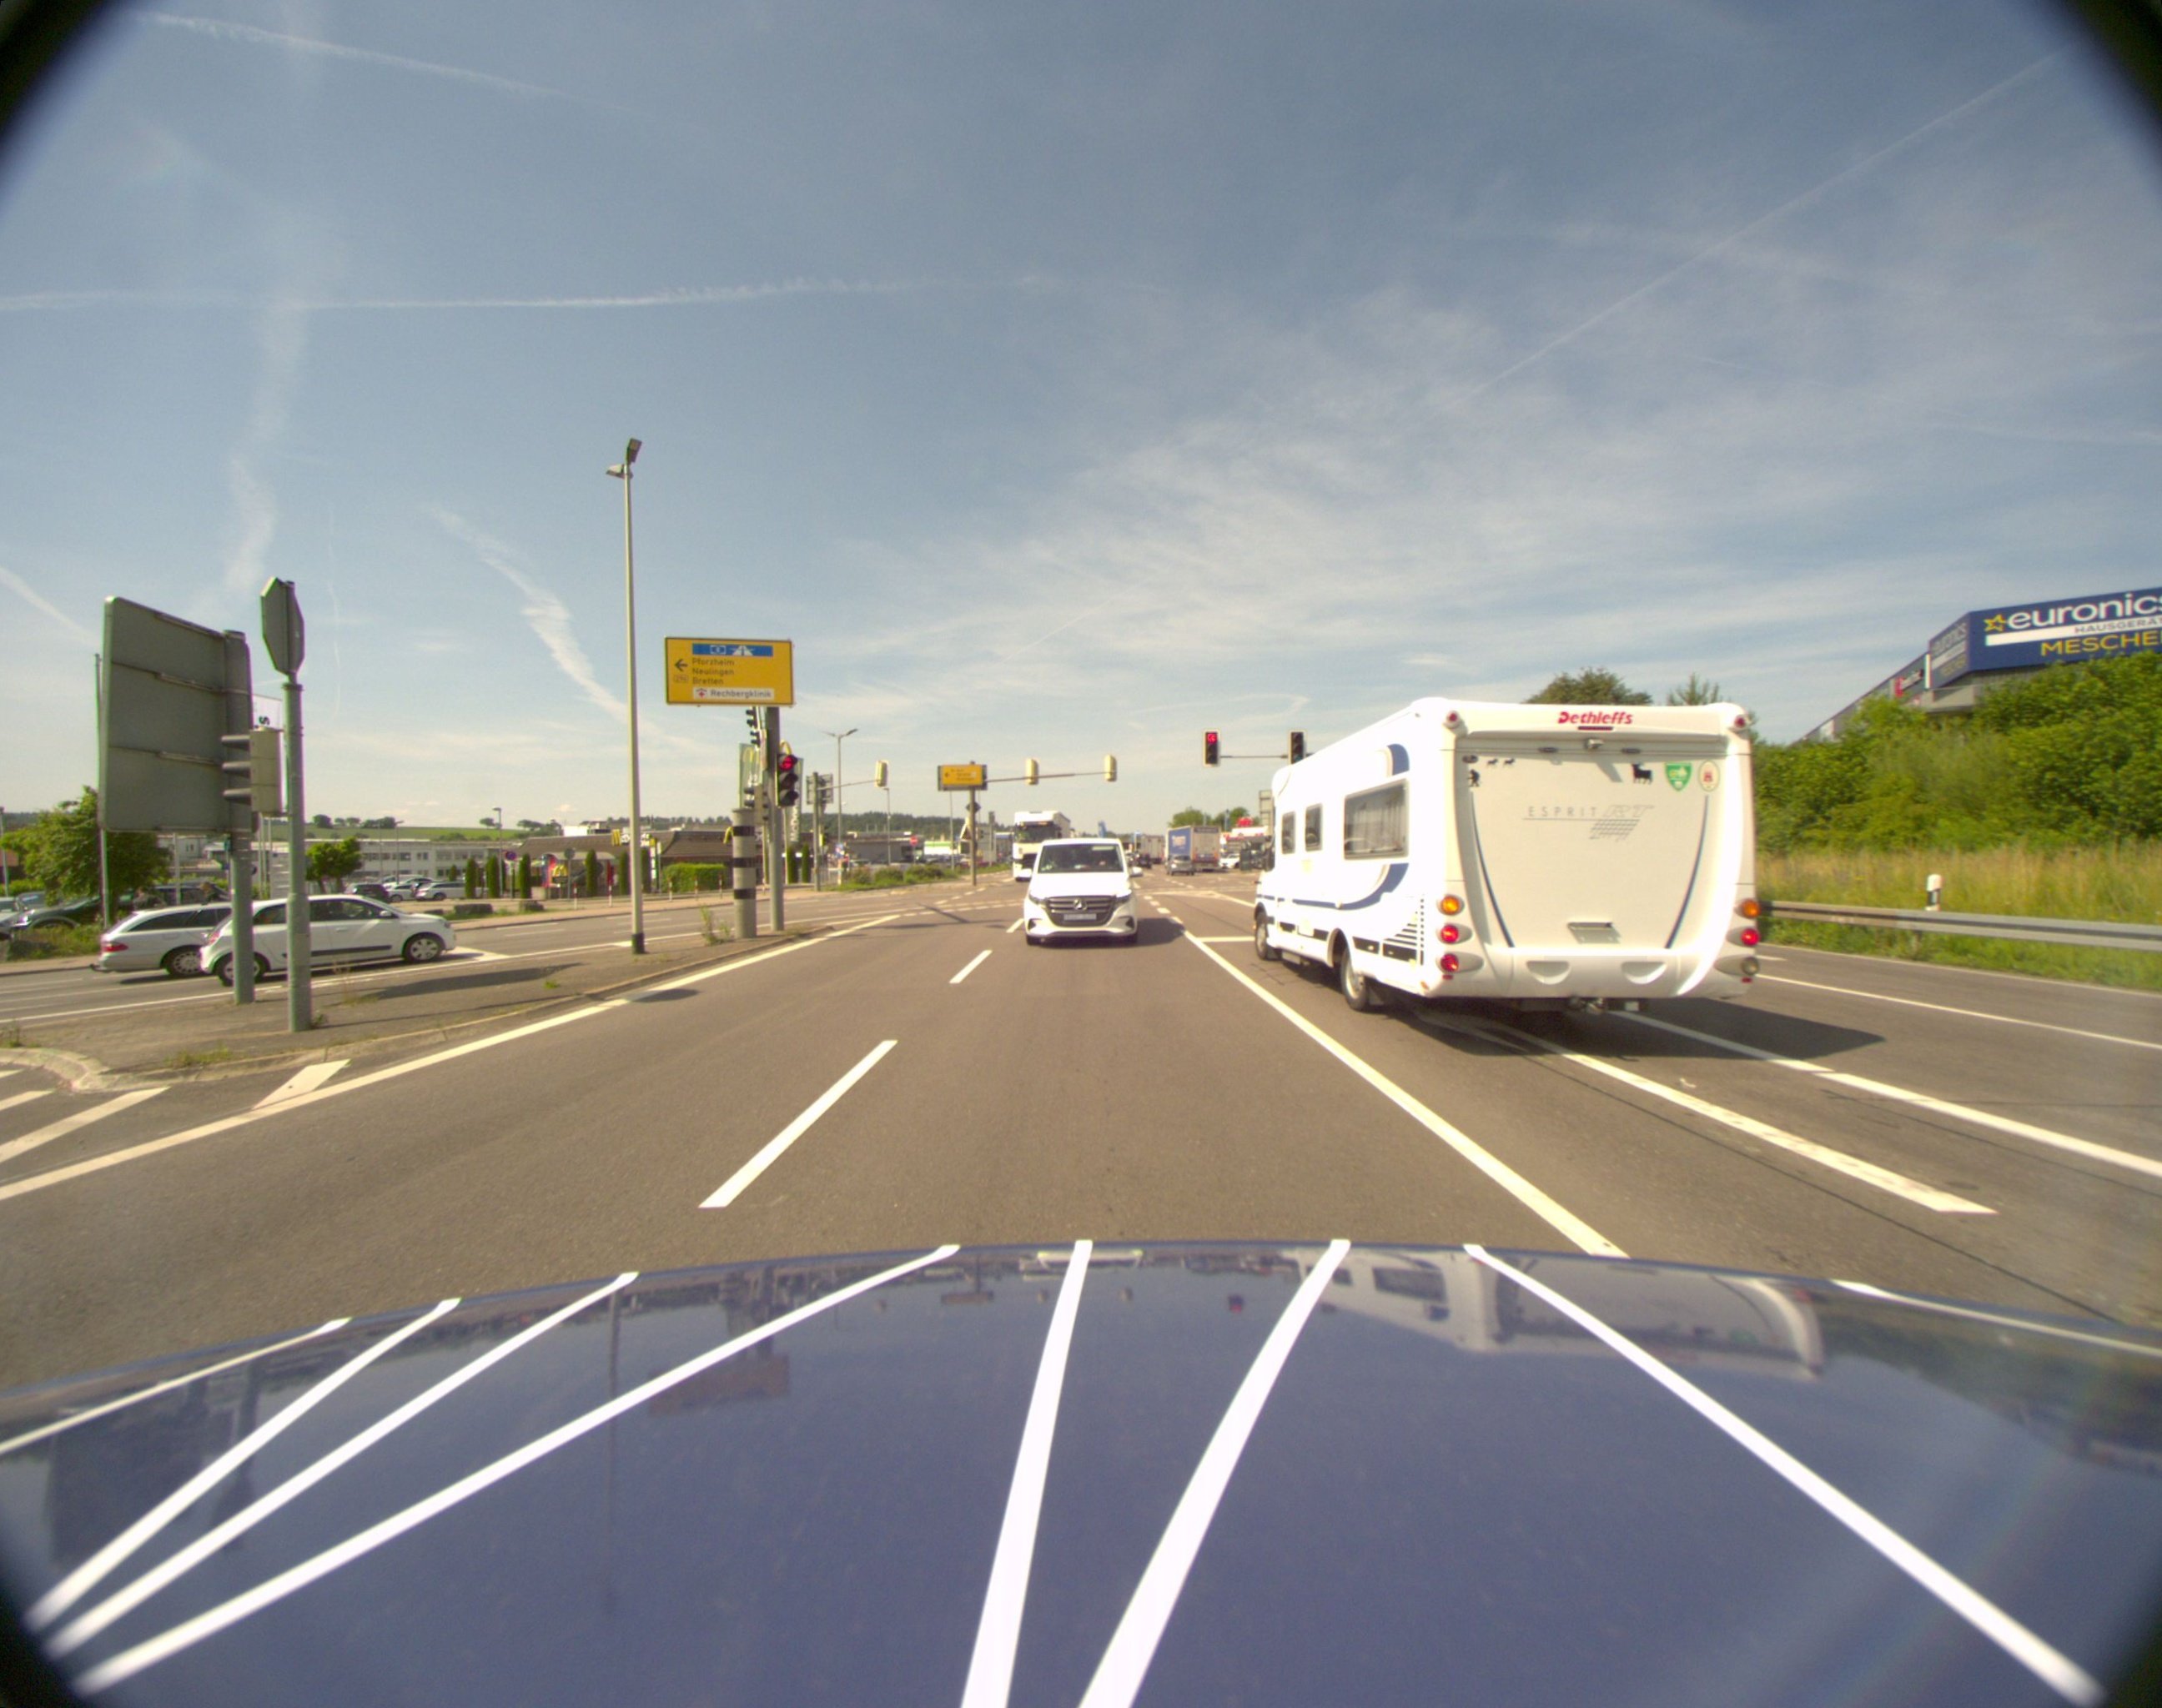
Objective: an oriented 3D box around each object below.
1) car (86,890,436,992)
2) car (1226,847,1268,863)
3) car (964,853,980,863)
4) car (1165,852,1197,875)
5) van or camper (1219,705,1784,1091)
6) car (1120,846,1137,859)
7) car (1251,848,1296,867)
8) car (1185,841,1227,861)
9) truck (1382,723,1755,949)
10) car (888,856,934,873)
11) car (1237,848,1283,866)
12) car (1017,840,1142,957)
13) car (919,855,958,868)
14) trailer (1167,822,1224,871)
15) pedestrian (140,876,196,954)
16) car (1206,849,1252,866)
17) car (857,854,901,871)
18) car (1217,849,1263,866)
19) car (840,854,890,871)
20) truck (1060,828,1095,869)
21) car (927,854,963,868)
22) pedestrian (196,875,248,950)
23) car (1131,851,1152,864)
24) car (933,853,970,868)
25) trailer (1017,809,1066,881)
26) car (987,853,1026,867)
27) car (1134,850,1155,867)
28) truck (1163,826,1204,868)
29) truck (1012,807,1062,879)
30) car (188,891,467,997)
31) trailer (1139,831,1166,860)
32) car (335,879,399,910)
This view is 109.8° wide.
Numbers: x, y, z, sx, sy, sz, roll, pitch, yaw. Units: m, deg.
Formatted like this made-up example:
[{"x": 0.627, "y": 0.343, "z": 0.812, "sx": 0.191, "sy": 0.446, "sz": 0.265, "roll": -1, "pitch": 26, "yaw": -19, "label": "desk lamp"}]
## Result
[{"x": -17.837, "y": 1.771, "z": 16.904, "sx": 1.994, "sy": 1.496, "sz": 5.009, "roll": -2, "pitch": 2, "yaw": 41, "label": "car"}, {"x": 19.149, "y": 0.116, "z": 87.933, "sx": 1.896, "sy": 1.738, "sz": 4.457, "roll": -2, "pitch": 0, "yaw": -41, "label": "car"}, {"x": -17.400, "y": 0.604, "z": 121.150, "sx": 1.907, "sy": 1.645, "sz": 4.709, "roll": 0, "pitch": 1, "yaw": -1, "label": "car"}, {"x": 7.154, "y": 0.653, "z": 54.478, "sx": 1.729, "sy": 1.493, "sz": 3.999, "roll": 1, "pitch": 1, "yaw": 0, "label": "car"}, {"x": 3.469, "y": 0.276, "z": 8.607, "sx": 2.337, "sy": 2.585, "sz": 6.976, "roll": 0, "pitch": 1, "yaw": -2, "label": "van or camper"}, {"x": 6.232, "y": -0.195, "z": 99.620, "sx": 1.848, "sy": 1.722, "sz": 4.588, "roll": -2, "pitch": 0, "yaw": 0, "label": "car"}, {"x": 19.067, "y": 0.328, "z": 75.032, "sx": 4.750, "sy": 1.616, "sz": 1.885, "roll": -4, "pitch": 2, "yaw": -41, "label": "car"}, {"x": 17.461, "y": -0.389, "z": 106.429, "sx": 5.721, "sy": 2.822, "sz": 2.117, "roll": 0, "pitch": 0, "yaw": 4, "label": "car"}, {"x": 10.531, "y": -0.354, "z": 18.267, "sx": 2.736, "sy": 3.976, "sz": 9.618, "roll": 0, "pitch": 1, "yaw": 0, "label": "truck"}, {"x": -16.964, "y": 1.026, "z": 75.921, "sx": 1.855, "sy": 1.567, "sz": 4.242, "roll": 1, "pitch": 1, "yaw": 38, "label": "car"}, {"x": 18.210, "y": 0.271, "z": 77.200, "sx": 4.805, "sy": 1.617, "sz": 1.927, "roll": -4, "pitch": 3, "yaw": -39, "label": "car"}, {"x": 0.090, "y": 0.686, "z": 15.032, "sx": 1.993, "sy": 1.858, "sz": 5.804, "roll": 0, "pitch": 1, "yaw": 2, "label": "car"}, {"x": -16.013, "y": 0.828, "z": 85.714, "sx": 1.744, "sy": 1.483, "sz": 4.273, "roll": 1, "pitch": 1, "yaw": 38, "label": "car"}, {"x": 10.295, "y": -0.642, "z": 70.137, "sx": 3.101, "sy": 4.056, "sz": 14.125, "roll": 0, "pitch": 1, "yaw": 0, "label": "trailer"}, {"x": -24.541, "y": 1.615, "z": 20.431, "sx": 0.662, "sy": 2.002, "sz": 0.880, "roll": 0, "pitch": 1, "yaw": 38, "label": "pedestrian"}, {"x": 15.860, "y": 0.363, "z": 81.508, "sx": 4.723, "sy": 1.467, "sz": 1.888, "roll": -4, "pitch": 2, "yaw": -31, "label": "car"}, {"x": -20.855, "y": 0.868, "z": 78.585, "sx": 1.771, "sy": 1.661, "sz": 4.179, "roll": 1, "pitch": 1, "yaw": 38, "label": "car"}, {"x": 16.521, "y": 0.376, "z": 78.865, "sx": 4.724, "sy": 1.504, "sz": 1.950, "roll": -4, "pitch": 2, "yaw": -38, "label": "car"}, {"x": -22.645, "y": 0.848, "z": 79.924, "sx": 1.907, "sy": 1.661, "sz": 4.828, "roll": 1, "pitch": 1, "yaw": 38, "label": "car"}, {"x": -0.249, "y": -0.611, "z": 78.159, "sx": 2.646, "sy": 3.964, "sz": 9.242, "roll": 0, "pitch": 1, "yaw": 6, "label": "truck"}, {"x": -16.736, "y": 0.821, "z": 93.608, "sx": 4.007, "sy": 1.661, "sz": 1.916, "roll": 0, "pitch": 1, "yaw": -35, "label": "car"}, {"x": -23.943, "y": 1.611, "z": 21.180, "sx": 0.662, "sy": 2.002, "sz": 0.880, "roll": 0, "pitch": 1, "yaw": 38, "label": "pedestrian"}, {"x": 6.822, "y": 0.394, "z": 86.556, "sx": 1.999, "sy": 1.476, "sz": 4.453, "roll": 0, "pitch": 1, "yaw": 0, "label": "car"}, {"x": -15.595, "y": 0.766, "z": 91.475, "sx": 4.031, "sy": 1.661, "sz": 1.772, "roll": 0, "pitch": 1, "yaw": -28, "label": "car"}, {"x": -2.453, "y": -0.570, "z": 50.459, "sx": 2.613, "sy": 4.203, "sz": 11.290, "roll": 0, "pitch": 1, "yaw": 0, "label": "trailer"}, {"x": -8.719, "y": 0.705, "z": 88.953, "sx": 1.969, "sy": 1.325, "sz": 4.804, "roll": -6, "pitch": 2, "yaw": -43, "label": "car"}, {"x": 6.460, "y": 0.408, "z": 77.549, "sx": 1.998, "sy": 1.716, "sz": 4.000, "roll": 0, "pitch": 1, "yaw": 3, "label": "car"}, {"x": 10.271, "y": -0.666, "z": 76.627, "sx": 3.196, "sy": 4.056, "sz": 6.345, "roll": 0, "pitch": 1, "yaw": 0, "label": "truck"}, {"x": -2.466, "y": -0.610, "z": 44.774, "sx": 2.647, "sy": 3.964, "sz": 6.040, "roll": 0, "pitch": 1, "yaw": -1, "label": "truck"}, {"x": -14.946, "y": 1.673, "z": 15.243, "sx": 1.706, "sy": 1.495, "sz": 3.762, "roll": -2, "pitch": 2, "yaw": 41, "label": "car"}, {"x": 10.653, "y": -1.259, "z": 114.816, "sx": 2.698, "sy": 4.123, "sz": 13.877, "roll": 0, "pitch": 1, "yaw": -1, "label": "trailer"}, {"x": -40.958, "y": 2.265, "z": 43.549, "sx": 4.436, "sy": 1.511, "sz": 2.004, "roll": 1, "pitch": 1, "yaw": 38, "label": "car"}]
